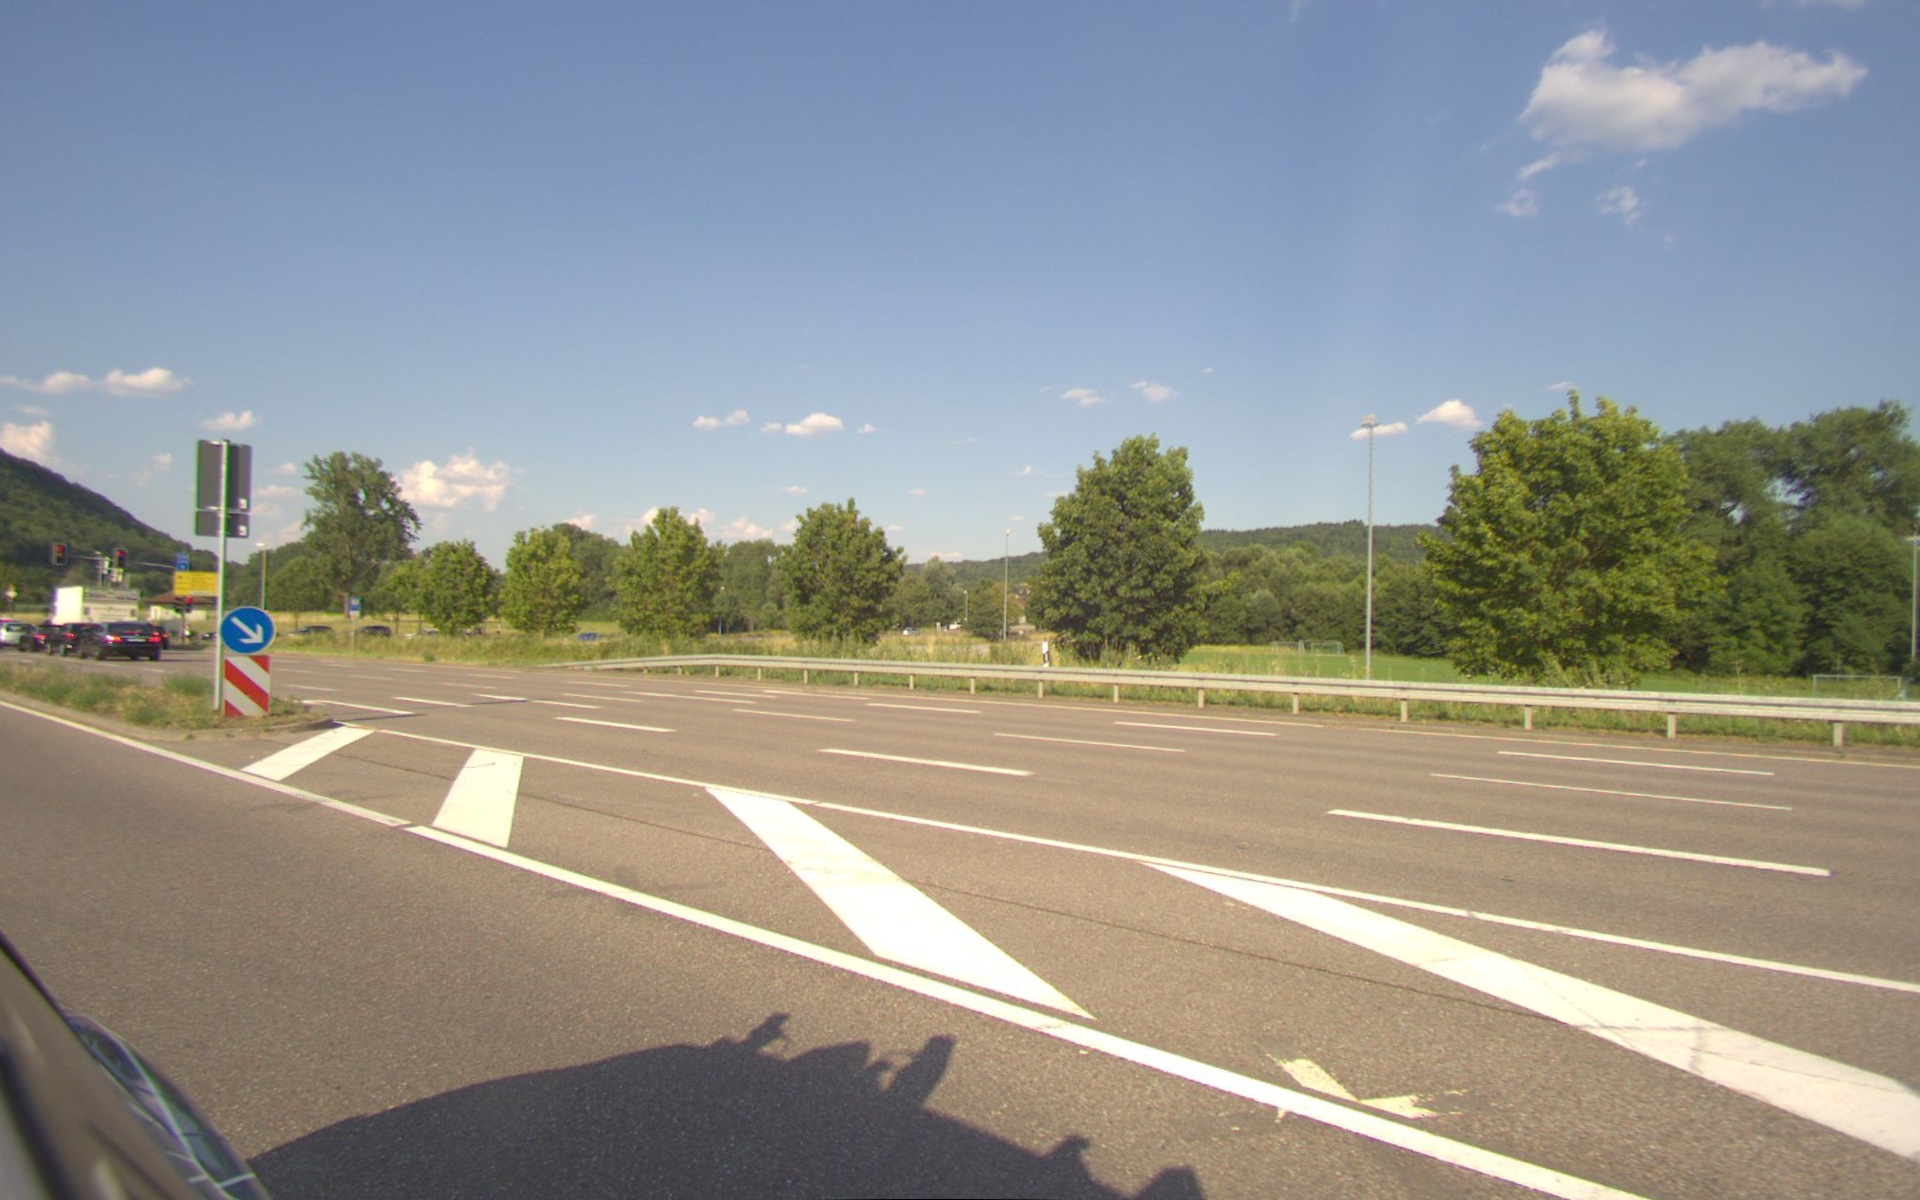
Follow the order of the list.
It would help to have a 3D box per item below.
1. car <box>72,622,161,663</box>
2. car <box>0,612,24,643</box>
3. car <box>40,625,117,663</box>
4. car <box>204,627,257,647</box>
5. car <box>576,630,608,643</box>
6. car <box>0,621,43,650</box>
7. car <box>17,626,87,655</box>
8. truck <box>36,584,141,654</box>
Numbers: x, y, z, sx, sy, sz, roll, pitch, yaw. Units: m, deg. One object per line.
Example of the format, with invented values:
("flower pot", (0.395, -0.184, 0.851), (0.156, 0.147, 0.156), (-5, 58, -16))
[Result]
("car", (-32.186, 1.609, 38.572), (4.721, 1.475, 1.698), (-1, -4, 39))
("car", (-54.733, 1.511, 57.211), (4.801, 1.691, 1.974), (0, -2, 39))
("car", (-37.670, 1.850, 43.205), (4.240, 1.485, 1.685), (0, -4, 38))
("car", (-67.234, 3.410, 93.276), (1.582, 1.630, 3.670), (0, 1, 24))
("car", (-42.855, 4.211, 118.020), (1.376, 1.342, 3.385), (0, 1, 33))
("car", (-49.966, 1.852, 53.309), (5.076, 1.416, 1.685), (0, -2, 39))
("car", (-43.583, 1.943, 48.547), (4.813, 1.293, 1.685), (-1, -3, 39))
("truck", (-50.921, 1.072, 59.005), (10.492, 3.718, 2.902), (0, -3, 41))
